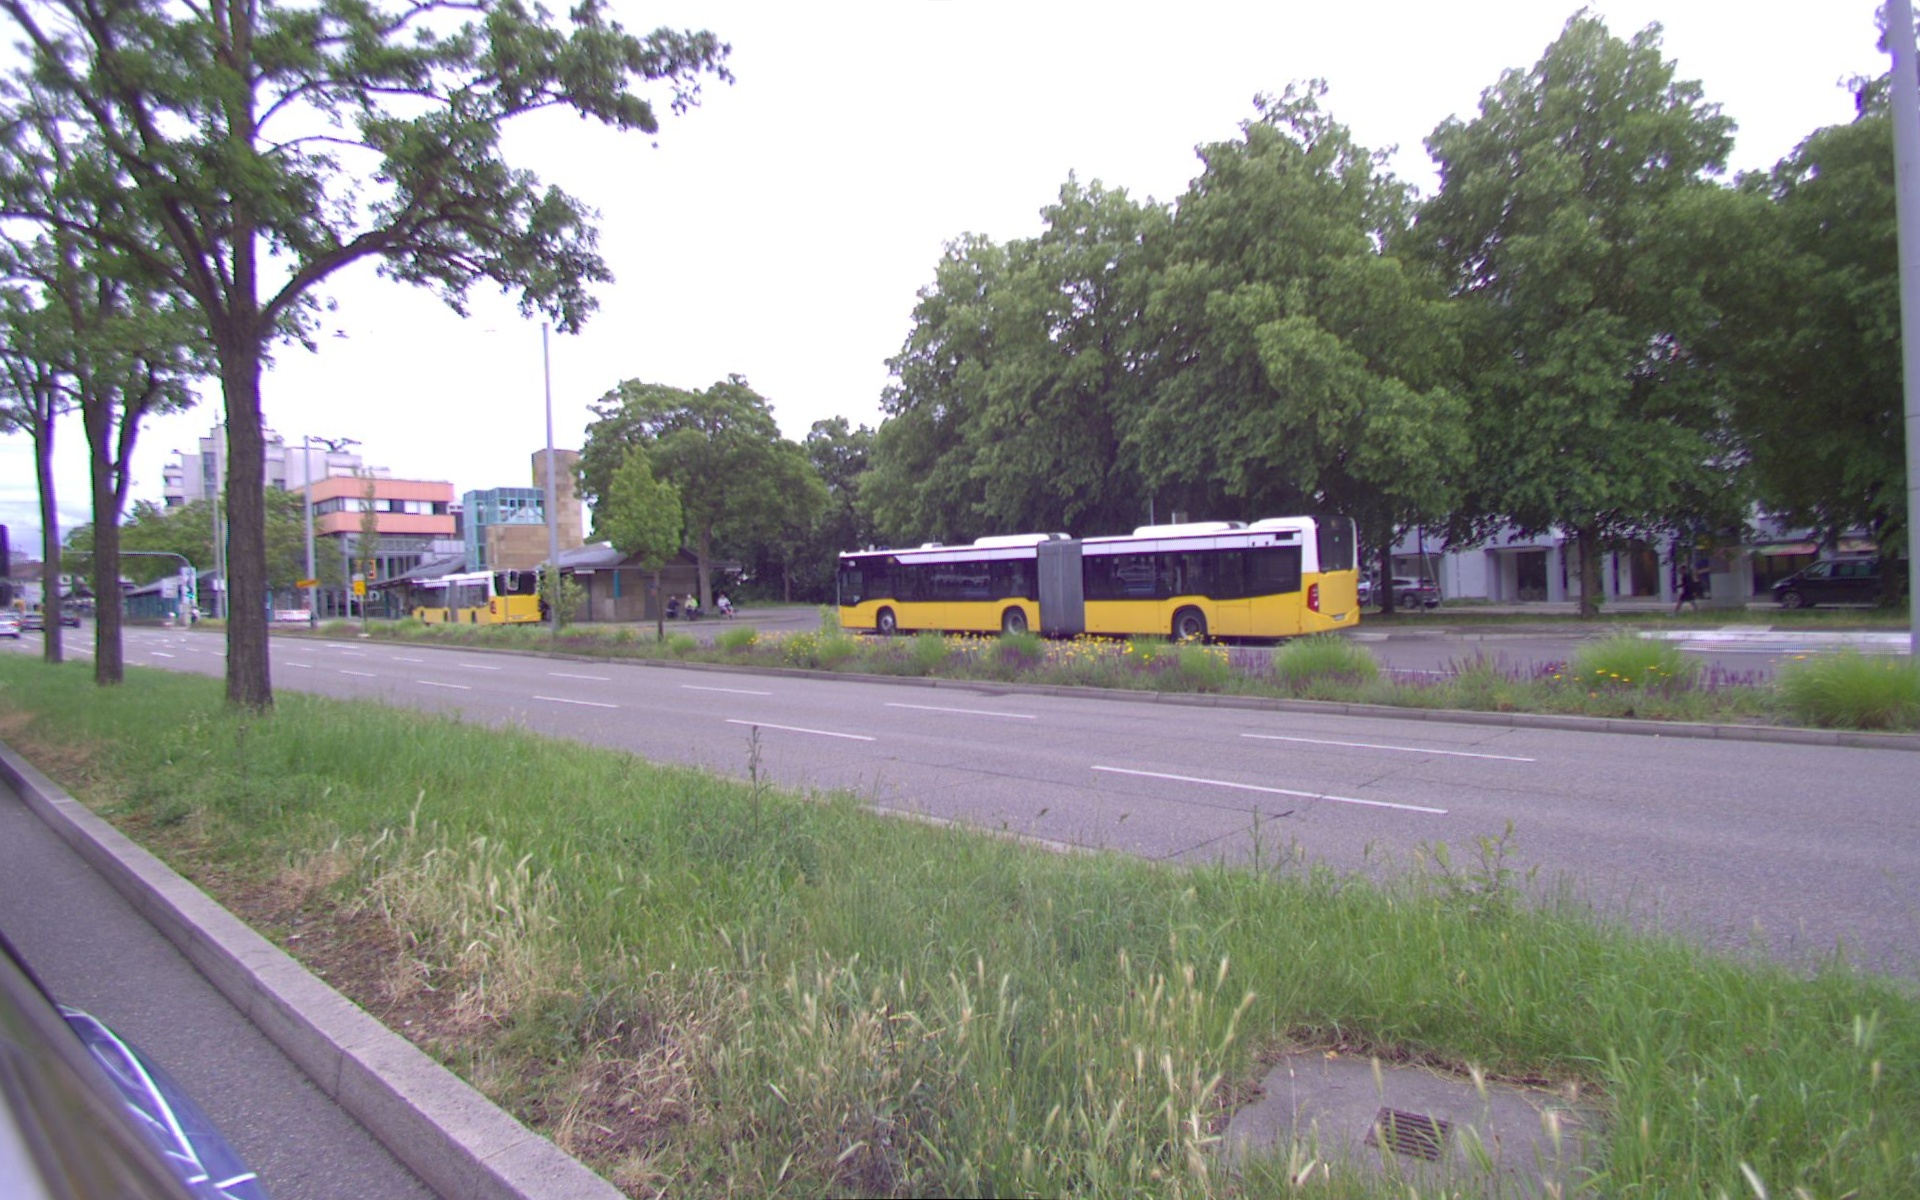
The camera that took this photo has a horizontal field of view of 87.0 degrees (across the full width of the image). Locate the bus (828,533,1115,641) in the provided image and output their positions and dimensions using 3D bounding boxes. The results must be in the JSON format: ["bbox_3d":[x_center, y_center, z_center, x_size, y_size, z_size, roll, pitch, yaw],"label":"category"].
[{"bbox_3d":[-0.006,-0.307,33.070,2.848,3.025,10.401,-1,0,-44],"label":"bus"}]

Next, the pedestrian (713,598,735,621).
[{"bbox_3d":[-11.916,0.472,51.105,0.924,1.180,0.641,-1,0,41],"label":"pedestrian"}]

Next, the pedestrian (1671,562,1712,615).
[{"bbox_3d":[22.103,-0.343,30.583,0.904,1.569,0.761,-2,0,41],"label":"pedestrian"}]

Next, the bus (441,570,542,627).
[{"bbox_3d":[-25.717,-0.033,55.276,2.845,2.830,9.192,-1,0,-39],"label":"bus"}]

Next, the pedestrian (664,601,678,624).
[{"bbox_3d":[-14.835,0.647,51.996,0.589,1.171,0.745,-1,0,-23],"label":"pedestrian"}]

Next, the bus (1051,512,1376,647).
[{"bbox_3d":[6.340,-0.423,26.473,2.849,3.025,7.889,-1,0,-44],"label":"bus"}]

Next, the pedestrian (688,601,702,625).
[{"bbox_3d":[-13.234,0.626,50.559,0.589,1.171,0.745,-1,0,-23],"label":"pedestrian"}]

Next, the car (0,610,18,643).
[{"bbox_3d":[-59.985,1.667,63.011,4.000,2.029,1.703,-1,0,43],"label":"car"}]

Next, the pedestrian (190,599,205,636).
[{"bbox_3d":[-58.238,1.317,77.289,0.889,2.809,1.150,-1,0,-36],"label":"pedestrian"}]

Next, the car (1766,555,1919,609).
[{"bbox_3d":[33.132,-0.634,37.786,1.758,1.861,4.429,-1,0,-35],"label":"car"}]

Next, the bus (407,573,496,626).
[{"bbox_3d":[-31.249,0.003,62.006,2.846,3.025,9.191,-1,0,-40],"label":"bus"}]

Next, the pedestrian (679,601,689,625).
[{"bbox_3d":[-13.735,0.633,50.390,0.361,1.175,0.900,-1,0,-23],"label":"pedestrian"}]

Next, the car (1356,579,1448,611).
[{"bbox_3d":[22.116,-0.222,50.775,1.729,1.524,4.013,-1,0,-28],"label":"car"}]
